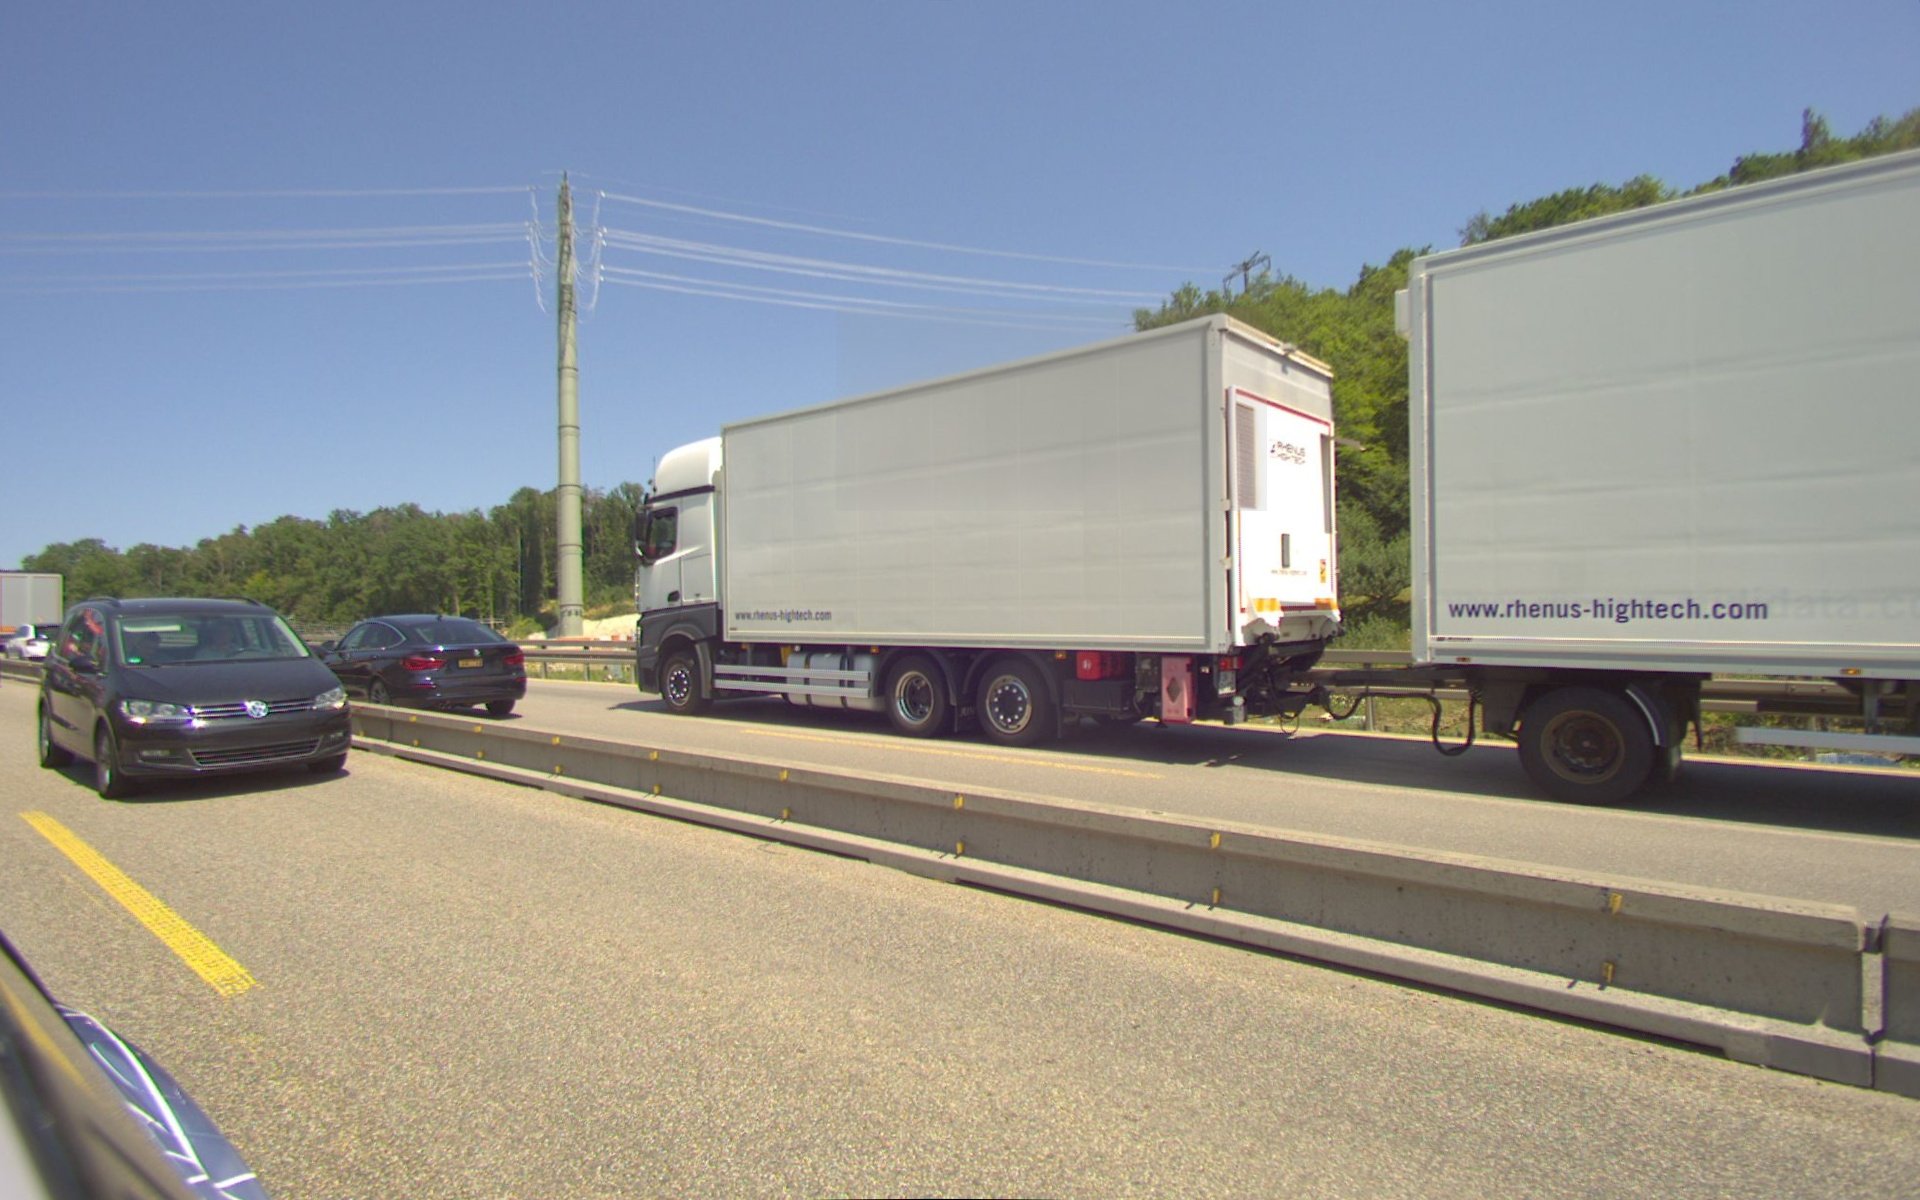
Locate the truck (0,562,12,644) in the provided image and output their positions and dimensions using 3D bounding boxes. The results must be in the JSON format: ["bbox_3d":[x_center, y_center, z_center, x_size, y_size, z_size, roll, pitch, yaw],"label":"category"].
[{"bbox_3d":[-56.991,0.211,58.108,5.778,4.614,2.820,-2,-1,38],"label":"truck"}]

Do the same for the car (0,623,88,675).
[{"bbox_3d":[-30.687,1.586,33.789,4.147,1.533,1.567,0,0,37],"label":"car"}]

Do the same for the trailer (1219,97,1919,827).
[{"bbox_3d":[6.607,-0.798,6.846,9.013,4.197,2.972,-2,-1,41],"label":"trailer"}]

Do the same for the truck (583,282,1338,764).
[{"bbox_3d":[-0.862,-0.550,13.356,10.537,4.194,2.948,-2,-1,41],"label":"truck"}]

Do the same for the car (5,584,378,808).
[{"bbox_3d":[-7.913,0.810,10.181,5.298,1.719,1.838,-2,-1,40],"label":"car"}]

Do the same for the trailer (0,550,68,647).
[{"bbox_3d":[-51.457,0.079,53.970,14.552,4.676,2.808,-1,-1,36],"label":"trailer"}]

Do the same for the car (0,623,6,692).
[{"bbox_3d":[-24.205,1.367,23.833,4.780,1.567,1.873,-2,-1,39],"label":"car"}]

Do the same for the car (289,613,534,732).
[{"bbox_3d":[-8.286,0.981,15.095,4.619,1.490,1.763,-2,-1,42],"label":"car"}]
